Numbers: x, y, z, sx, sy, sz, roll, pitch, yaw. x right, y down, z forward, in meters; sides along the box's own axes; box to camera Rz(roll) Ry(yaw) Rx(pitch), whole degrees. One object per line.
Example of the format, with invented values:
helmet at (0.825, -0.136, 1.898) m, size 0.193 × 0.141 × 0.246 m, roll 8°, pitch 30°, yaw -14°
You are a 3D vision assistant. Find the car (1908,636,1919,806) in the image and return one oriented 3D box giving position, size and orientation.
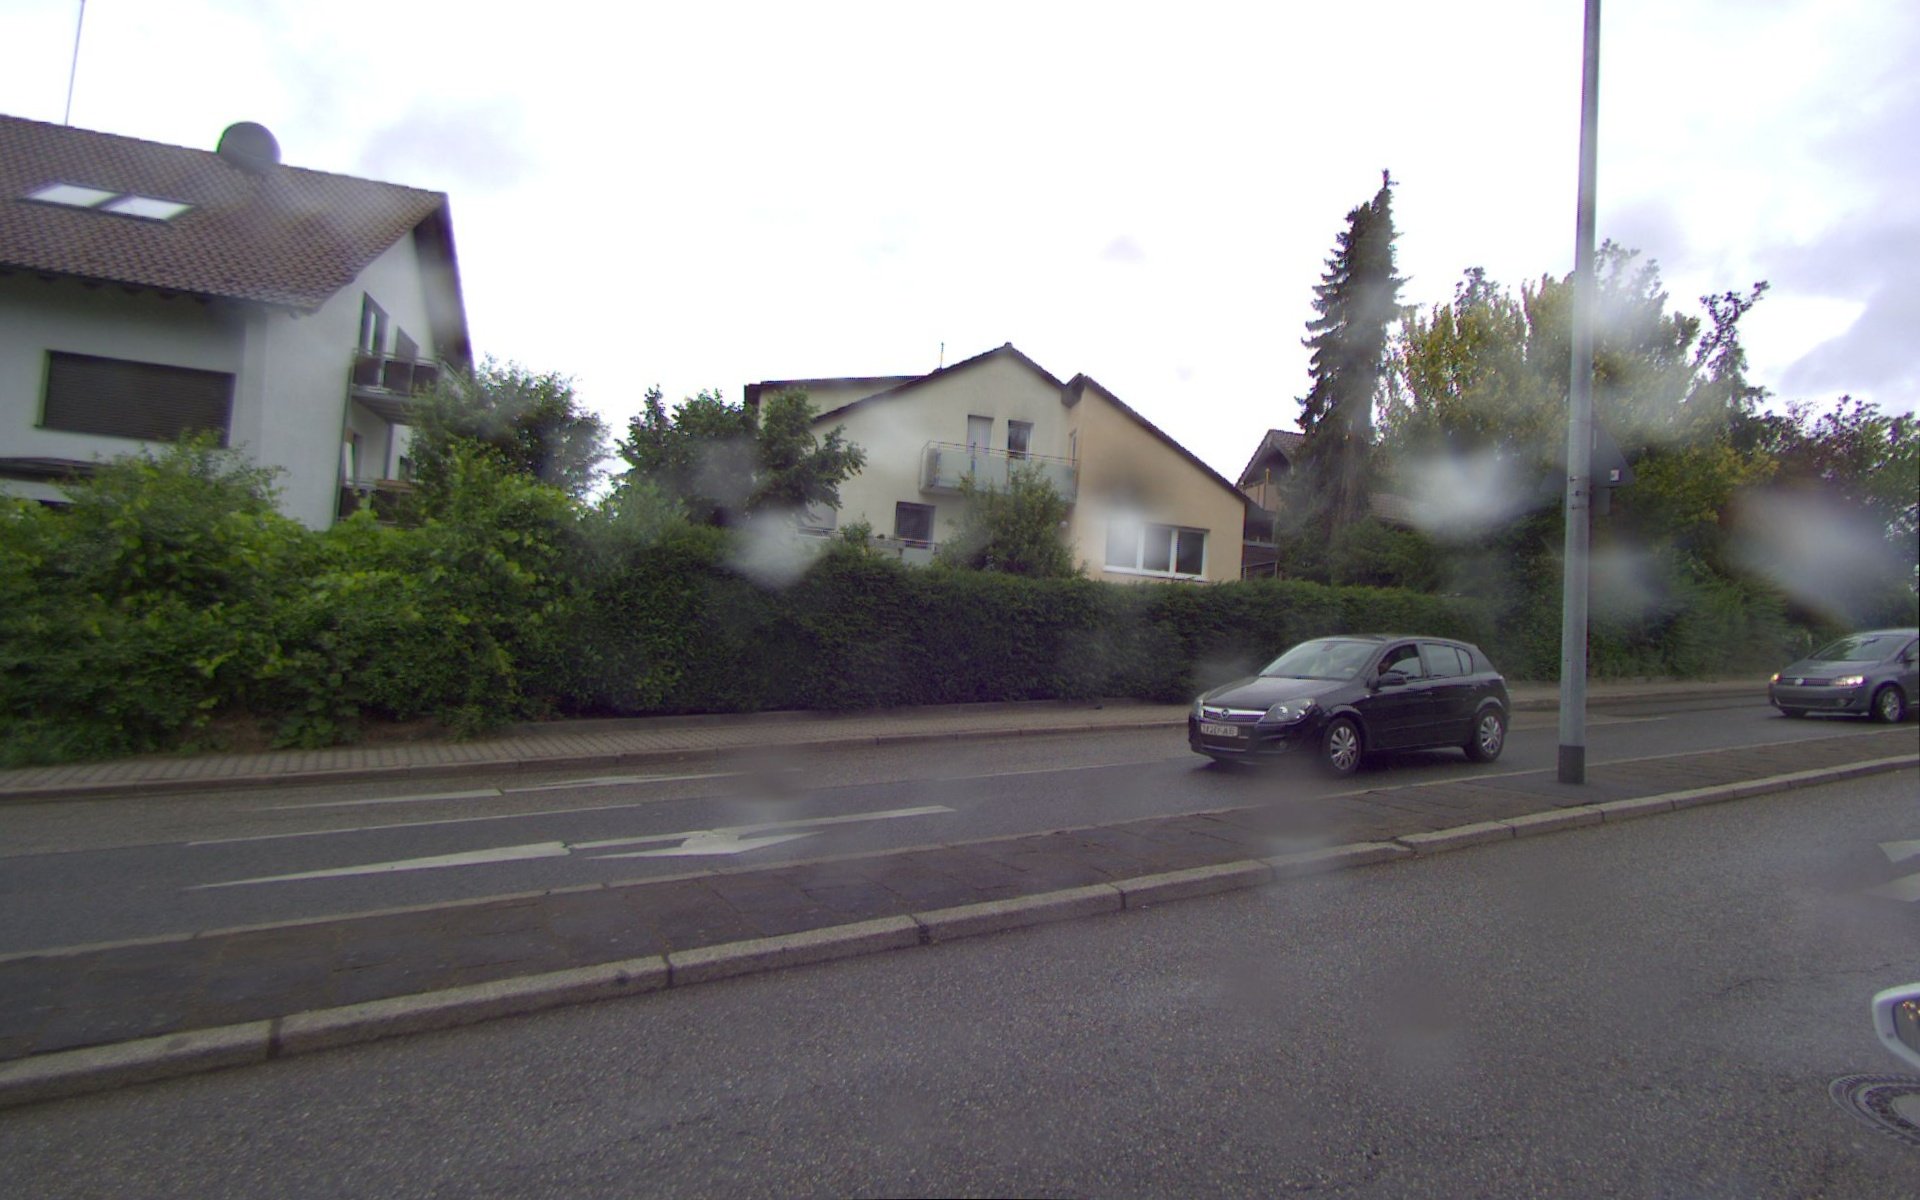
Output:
car at (11.071, 1.125, 9.426) m, size 4.276 × 1.547 × 1.985 m, roll 2°, pitch -3°, yaw -30°

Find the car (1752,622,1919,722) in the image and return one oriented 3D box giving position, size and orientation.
car at (16.359, 1.231, 17.825) m, size 3.969 × 1.623 × 1.741 m, roll 1°, pitch -3°, yaw -19°

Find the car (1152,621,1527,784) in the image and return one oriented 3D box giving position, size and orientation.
car at (4.294, 1.043, 11.290) m, size 3.953 × 1.529 × 1.887 m, roll 1°, pitch -3°, yaw -30°
